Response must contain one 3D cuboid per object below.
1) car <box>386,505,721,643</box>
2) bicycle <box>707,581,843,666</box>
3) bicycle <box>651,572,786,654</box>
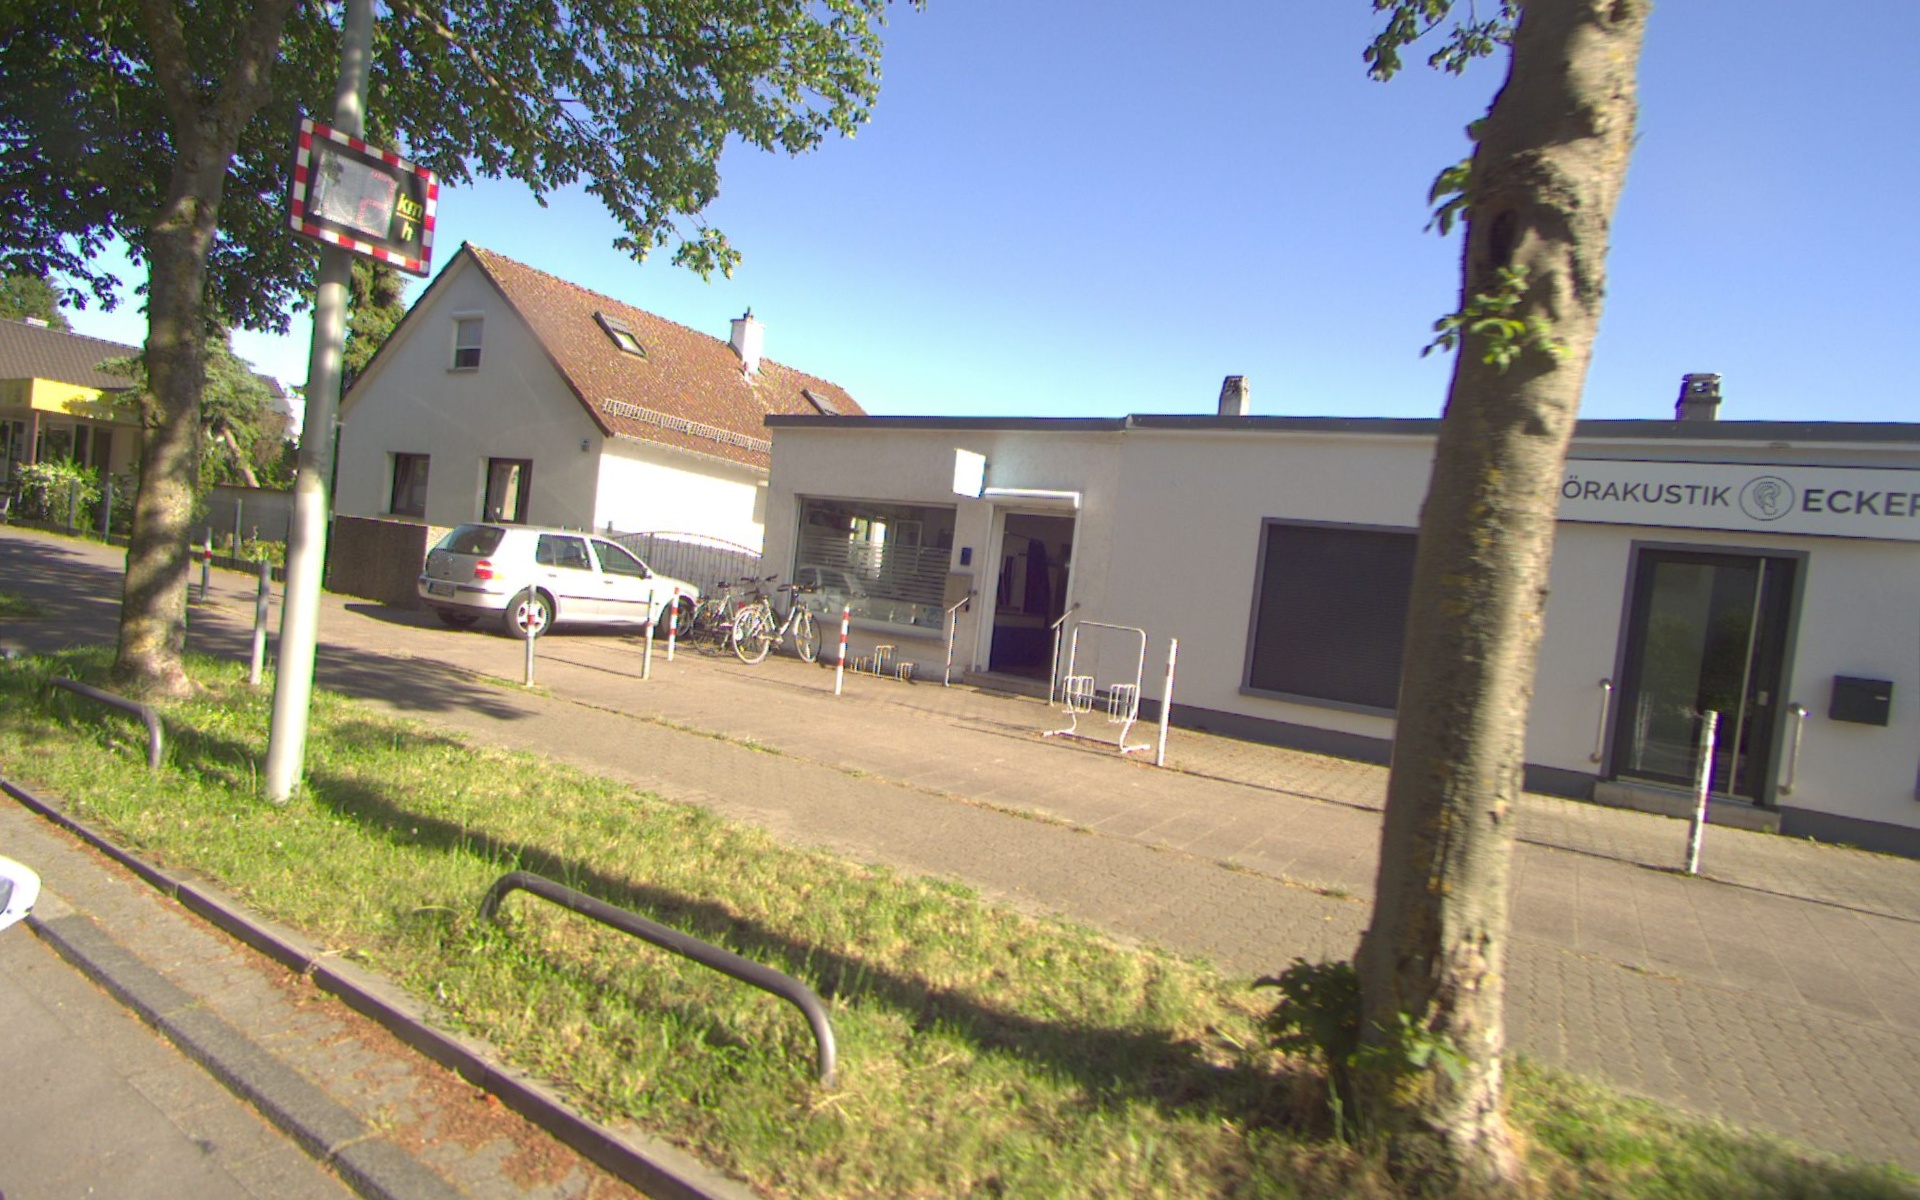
[{"bbox_3d":[-5.554,-0.291,14.242,1.870,1.508,3.989,9,3,30],"label":"car"},{"bbox_3d":[-2.445,0.327,13.564,0.566,1.012,1.959,9,3,30],"label":"bicycle"},{"bbox_3d":[-3.310,0.199,13.988,0.566,1.012,1.925,9,3,30],"label":"bicycle"}]
